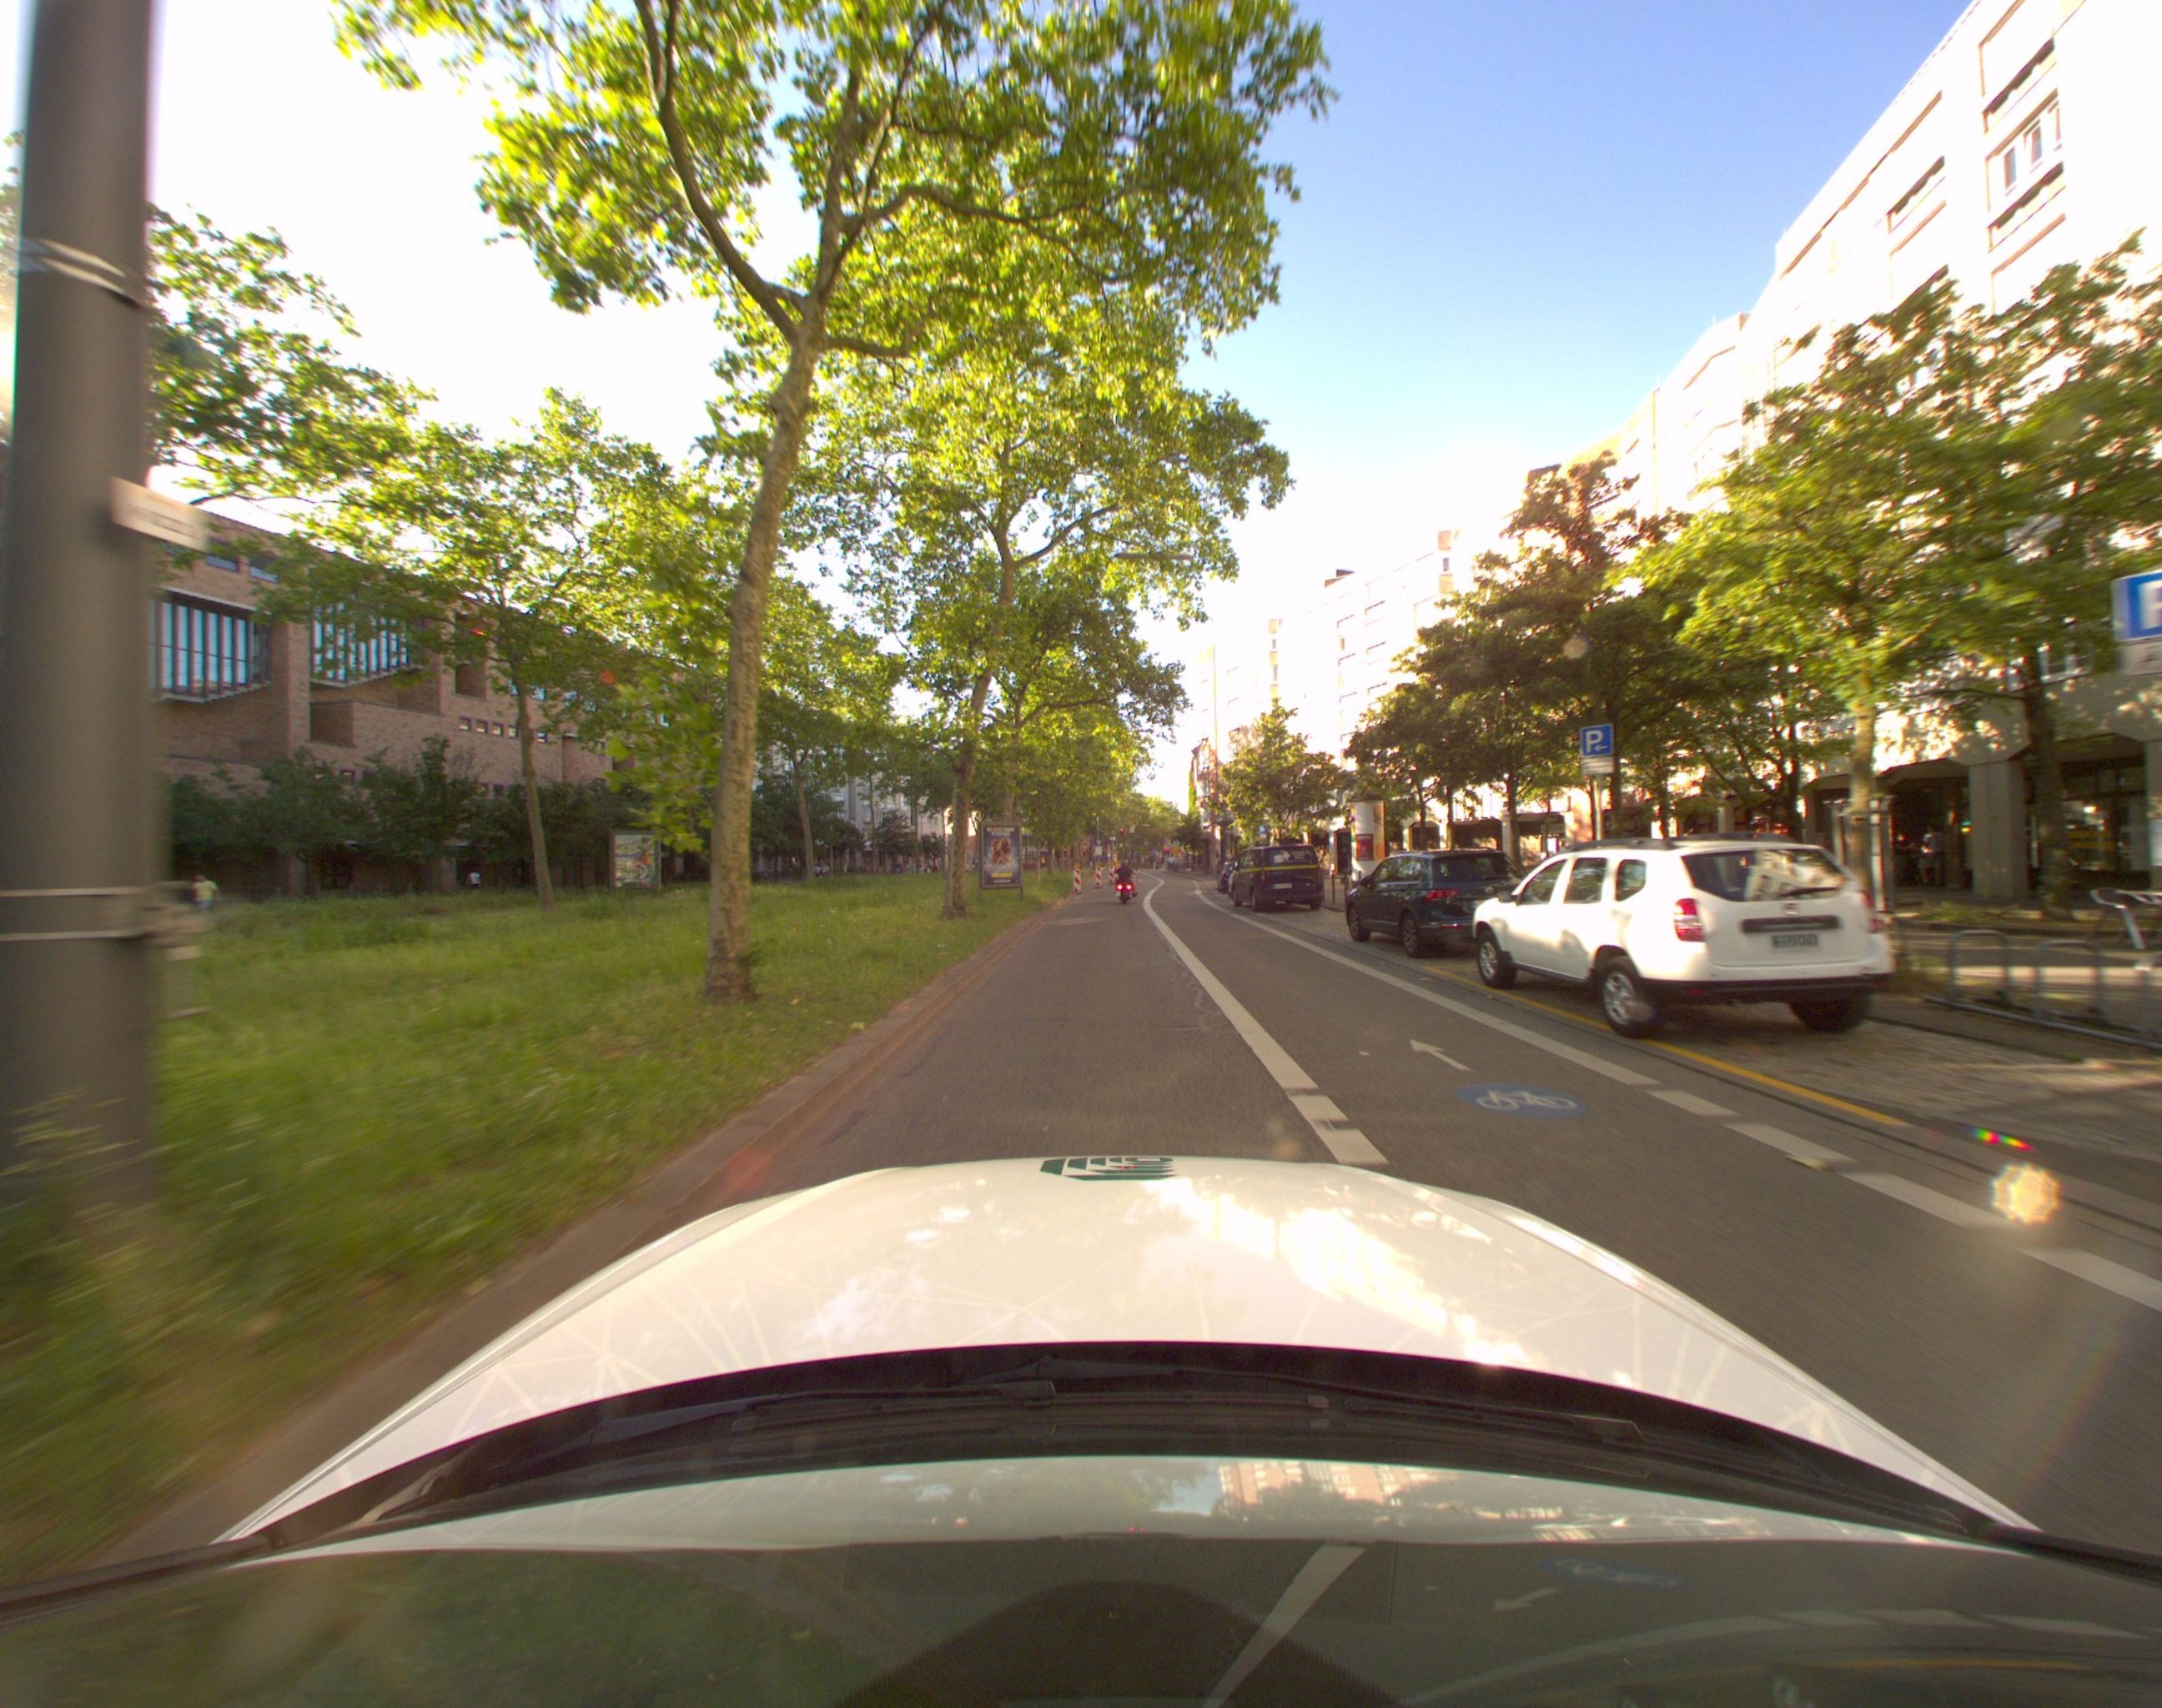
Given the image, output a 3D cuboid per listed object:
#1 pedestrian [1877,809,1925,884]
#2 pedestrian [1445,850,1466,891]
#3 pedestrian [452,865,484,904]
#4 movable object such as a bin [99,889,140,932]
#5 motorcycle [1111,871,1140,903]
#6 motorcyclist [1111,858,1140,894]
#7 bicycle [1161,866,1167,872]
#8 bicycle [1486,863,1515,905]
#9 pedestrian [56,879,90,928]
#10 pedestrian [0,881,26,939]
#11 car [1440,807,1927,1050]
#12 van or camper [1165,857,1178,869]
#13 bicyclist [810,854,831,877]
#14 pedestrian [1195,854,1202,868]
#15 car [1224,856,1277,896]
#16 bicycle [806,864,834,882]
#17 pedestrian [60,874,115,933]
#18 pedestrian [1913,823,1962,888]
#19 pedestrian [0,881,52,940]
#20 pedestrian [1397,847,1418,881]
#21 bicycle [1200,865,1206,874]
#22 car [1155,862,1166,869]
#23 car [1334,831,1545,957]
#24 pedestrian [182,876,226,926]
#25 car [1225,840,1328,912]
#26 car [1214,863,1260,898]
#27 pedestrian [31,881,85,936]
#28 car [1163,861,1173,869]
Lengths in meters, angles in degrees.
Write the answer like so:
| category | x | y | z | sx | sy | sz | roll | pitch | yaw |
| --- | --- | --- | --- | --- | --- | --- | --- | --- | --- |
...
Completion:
| category | x | y | z | sx | sy | sz | roll | pitch | yaw |
| --- | --- | --- | --- | --- | --- | --- | --- | --- | --- |
| pedestrian | 25.089 | -0.217 | 24.937 | 0.717 | 2.248 | 0.809 | -1 | -1 | 22 |
| pedestrian | 18.283 | 0.801 | 39.802 | 0.636 | 1.982 | 0.776 | -1 | -1 | 3 |
| pedestrian | -29.904 | 1.485 | 39.733 | 0.819 | 1.831 | 0.903 | -1 | -1 | 7 |
| movable object such as a bin | -30.142 | 1.759 | 25.541 | 0.354 | 1.279 | 0.757 | -1 | -1 | 2 |
| motorcycle | 1.599 | 1.181 | 29.676 | 1.014 | 1.097 | 2.008 | -1 | -1 | 2 |
| motorcyclist | 1.631 | 0.792 | 29.706 | 1.008 | 1.263 | 0.774 | 1 | -1 | 1 |
| bicycle | 15.270 | 2.710 | 149.304 | 0.736 | 1.053 | 1.748 | -1 | -1 | -6 |
| bicycle | 12.464 | 0.867 | 24.149 | 0.647 | 1.187 | 2.198 | -2 | -1 | 30 |
| pedestrian | -31.586 | 1.534 | 25.514 | 0.481 | 1.505 | 0.464 | -1 | -1 | 3 |
| pedestrian | -30.846 | 1.600 | 23.167 | 0.661 | 1.617 | 0.757 | -1 | -1 | 2 |
| car | 5.444 | 0.575 | 8.279 | 1.790 | 1.724 | 4.464 | -3 | -1 | 4 |
| van or camper | 19.193 | 1.864 | 172.751 | 2.035 | 2.541 | 5.792 | -1 | -1 | 13 |
| bicyclist | -17.608 | 0.772 | 55.129 | 0.937 | 1.571 | 1.210 | -1 | -1 | 3 |
| pedestrian | 14.967 | 0.875 | 103.549 | 0.776 | 1.738 | 0.839 | -1 | -1 | 11 |
| car | 6.807 | 0.871 | 33.066 | 1.693 | 1.465 | 4.182 | -2 | -1 | 7 |
| bicycle | -17.607 | 1.277 | 54.942 | 0.952 | 1.126 | 2.438 | -1 | -1 | 3 |
| pedestrian | -30.189 | 1.493 | 24.759 | 0.661 | 1.722 | 0.797 | -1 | -1 | 2 |
| pedestrian | 25.113 | 0.057 | 23.901 | 0.716 | 1.872 | 0.898 | -2 | -1 | 29 |
| pedestrian | -30.073 | 1.590 | 23.148 | 0.661 | 1.617 | 0.757 | -1 | -1 | 2 |
| pedestrian | 19.528 | 0.616 | 48.693 | 0.816 | 1.982 | 0.845 | -1 | -1 | -12 |
| bicycle | 16.317 | 2.079 | 108.979 | 0.617 | 1.226 | 1.934 | -1 | -1 | 15 |
| car | 15.285 | 2.259 | 156.490 | 1.609 | 1.302 | 4.325 | -1 | -1 | 11 |
| car | 5.847 | 0.600 | 13.982 | 1.790 | 1.724 | 4.579 | -3 | -1 | 4 |
| pedestrian | -29.338 | 1.574 | 27.267 | 0.663 | 1.617 | 0.755 | -1 | -1 | -7 |
| car | 6.042 | 0.664 | 25.801 | 2.030 | 1.943 | 5.199 | -3 | -1 | 1 |
| car | 7.341 | 1.209 | 38.601 | 1.693 | 1.483 | 4.255 | -2 | -1 | 6 |
| pedestrian | -30.893 | 1.626 | 24.604 | 0.661 | 1.617 | 0.757 | -1 | -1 | 2 |
| car | 17.776 | 2.247 | 166.282 | 1.609 | 1.619 | 4.500 | -1 | -1 | 12 |
